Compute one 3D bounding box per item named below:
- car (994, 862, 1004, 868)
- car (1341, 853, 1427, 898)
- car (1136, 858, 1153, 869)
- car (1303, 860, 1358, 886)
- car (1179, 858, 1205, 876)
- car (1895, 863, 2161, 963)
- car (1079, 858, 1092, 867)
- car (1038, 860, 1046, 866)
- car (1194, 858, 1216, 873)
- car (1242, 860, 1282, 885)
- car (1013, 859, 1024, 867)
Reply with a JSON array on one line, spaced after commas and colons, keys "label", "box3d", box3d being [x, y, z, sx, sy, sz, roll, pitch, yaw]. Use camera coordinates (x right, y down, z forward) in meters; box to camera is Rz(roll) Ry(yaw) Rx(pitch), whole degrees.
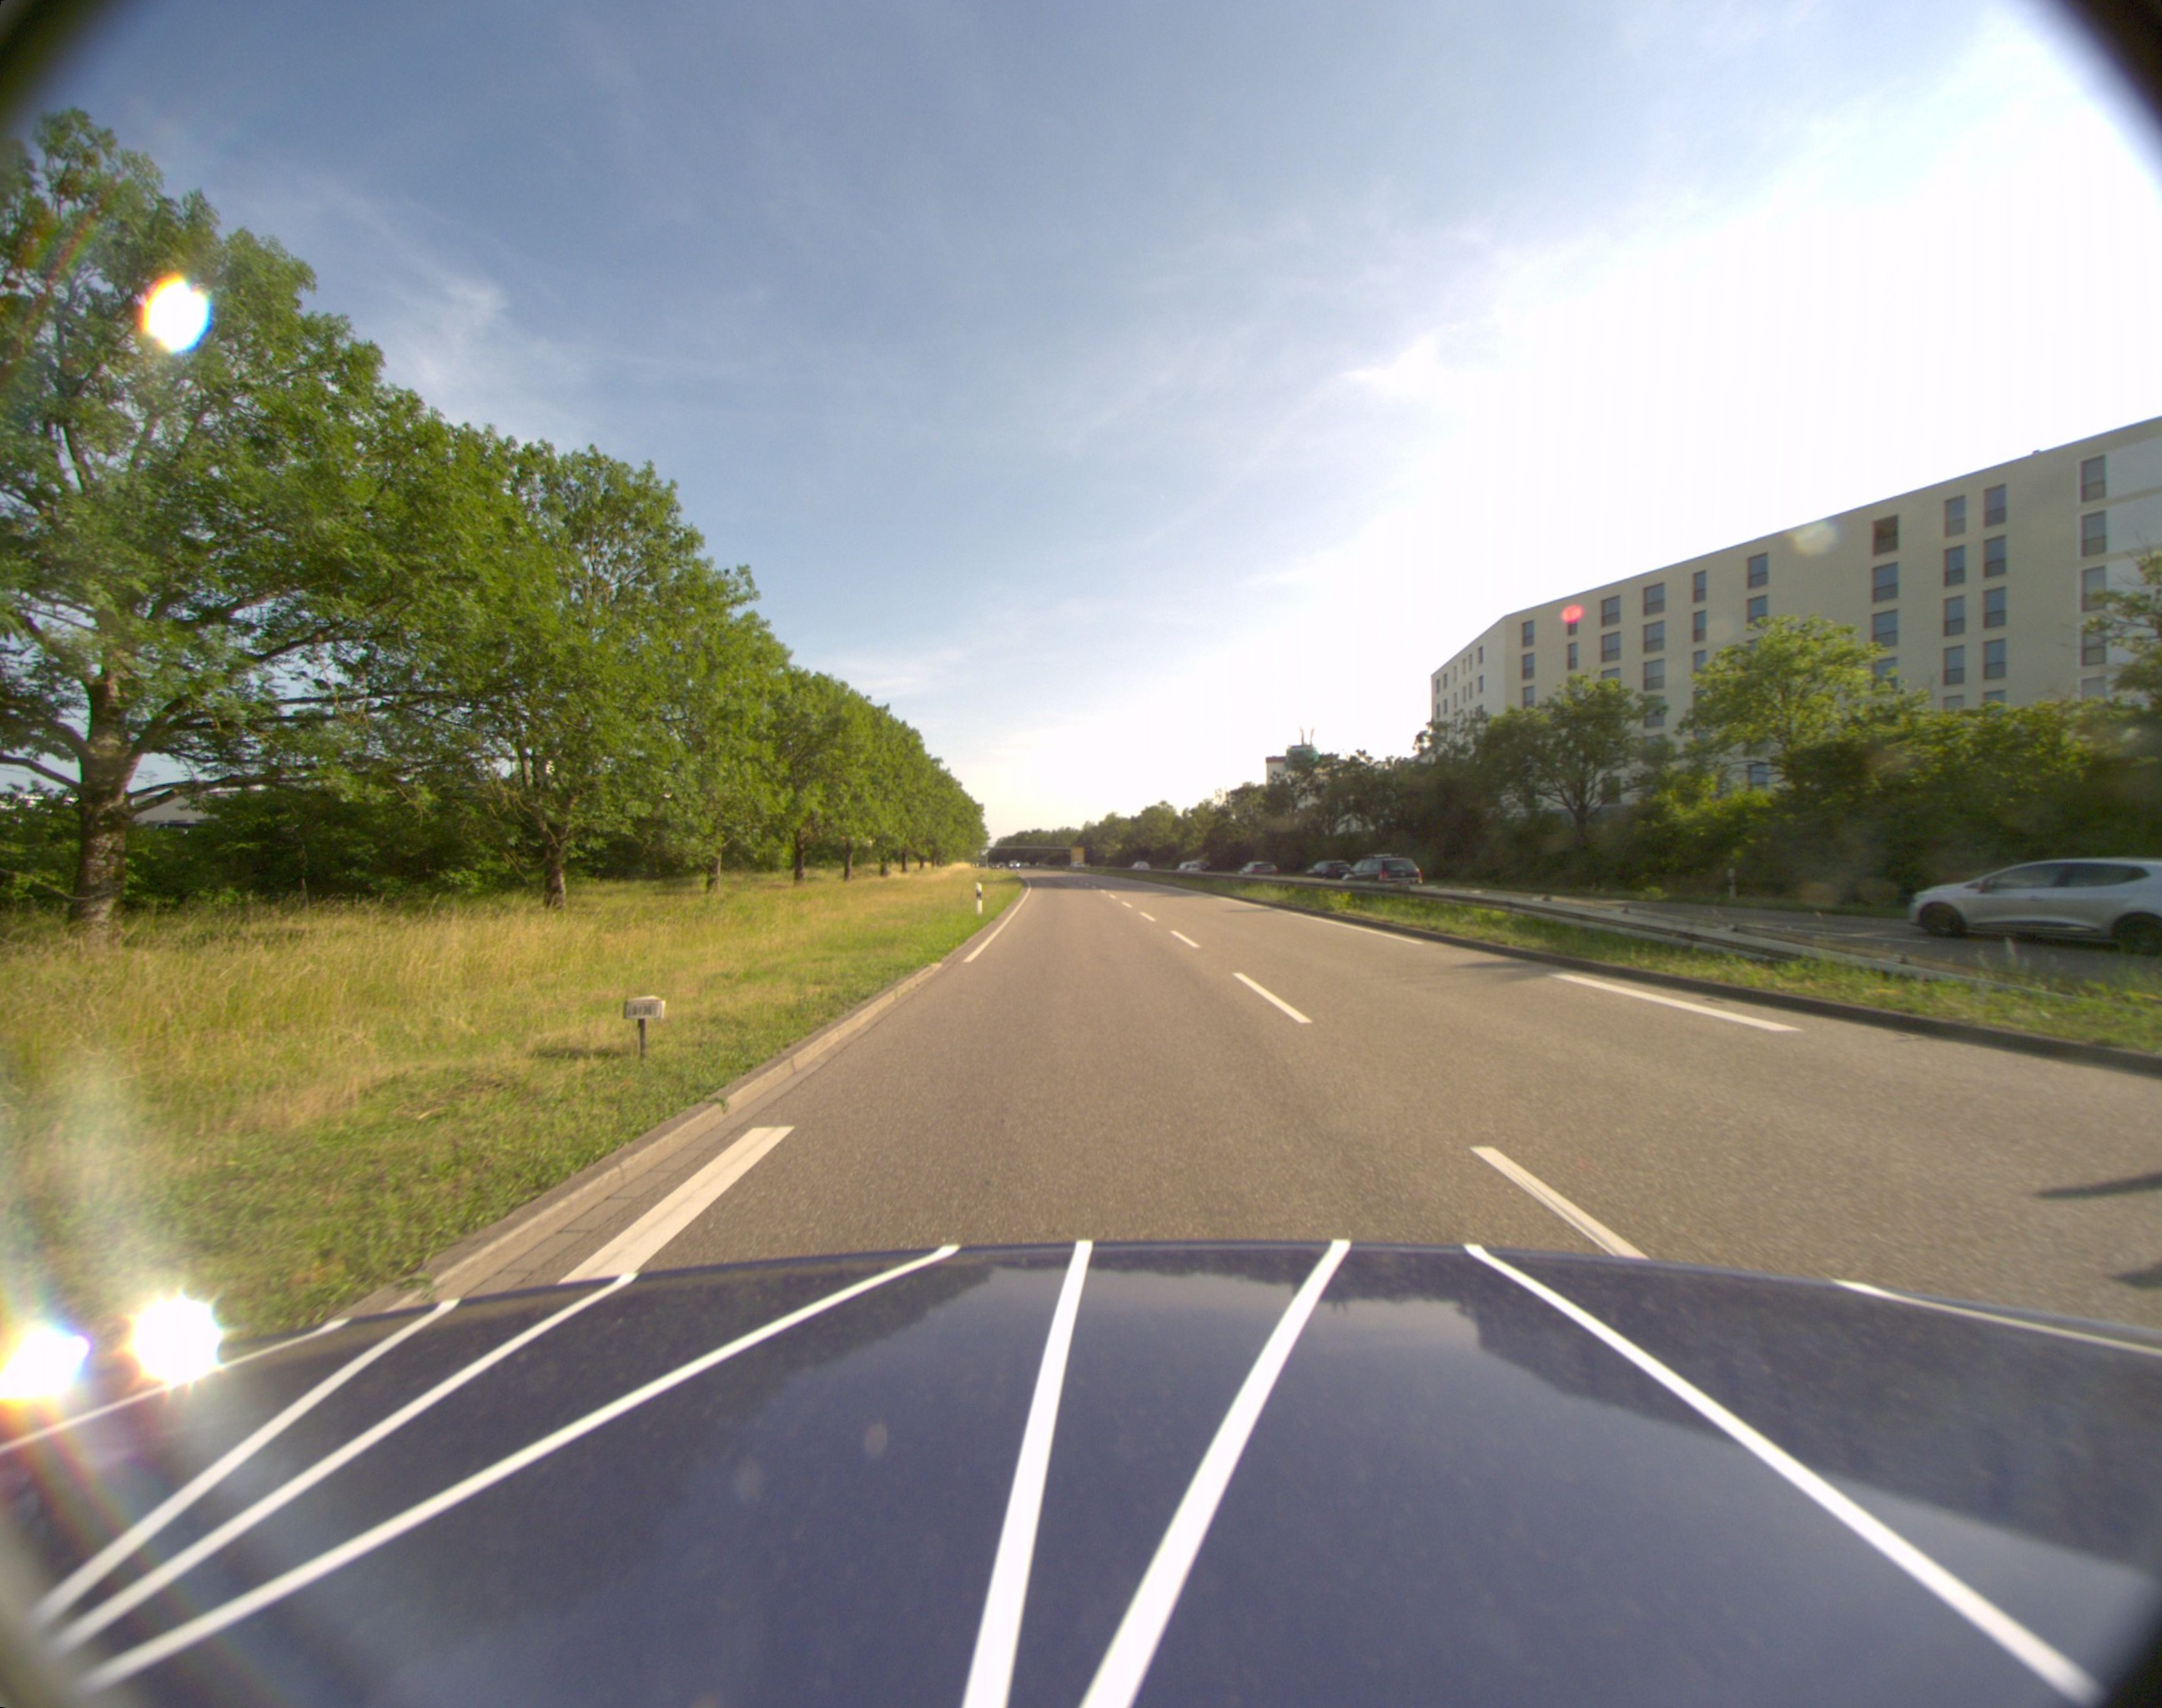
[{"label": "car", "box3d": [-20.238, 2.605, 186.790, 1.903, 1.377, 4.350, -2, 0, -14]}, {"label": "car", "box3d": [11.813, 0.795, 29.854, 1.736, 1.602, 3.523, -2, 0, -4]}, {"label": "car", "box3d": [8.806, 1.248, 104.817, 1.608, 1.432, 3.234, -2, 0, -8]}, {"label": "car", "box3d": [14.978, 1.102, 45.771, 1.673, 1.432, 3.938, -2, 0, -5]}, {"label": "car", "box3d": [9.695, 1.120, 66.495, 1.607, 1.433, 3.235, -2, 0, -2]}, {"label": "car", "box3d": [16.302, 0.871, 12.413, 1.644, 1.368, 4.064, -1, 0, 0]}, {"label": "car", "box3d": [0.762, 1.491, 136.558, 1.646, 1.432, 4.199, -2, 0, -7]}, {"label": "car", "box3d": [-9.752, 2.256, 190.142, 1.608, 1.432, 4.198, -2, 0, -10]}, {"label": "car", "box3d": [12.728, 1.169, 78.134, 1.607, 1.433, 3.235, -2, 0, -3]}, {"label": "car", "box3d": [11.299, 1.126, 47.643, 1.607, 1.432, 3.235, -2, 0, -1]}, {"label": "car", "box3d": [-14.208, 2.043, 172.237, 1.903, 1.813, 4.350, -2, 0, -14]}]
